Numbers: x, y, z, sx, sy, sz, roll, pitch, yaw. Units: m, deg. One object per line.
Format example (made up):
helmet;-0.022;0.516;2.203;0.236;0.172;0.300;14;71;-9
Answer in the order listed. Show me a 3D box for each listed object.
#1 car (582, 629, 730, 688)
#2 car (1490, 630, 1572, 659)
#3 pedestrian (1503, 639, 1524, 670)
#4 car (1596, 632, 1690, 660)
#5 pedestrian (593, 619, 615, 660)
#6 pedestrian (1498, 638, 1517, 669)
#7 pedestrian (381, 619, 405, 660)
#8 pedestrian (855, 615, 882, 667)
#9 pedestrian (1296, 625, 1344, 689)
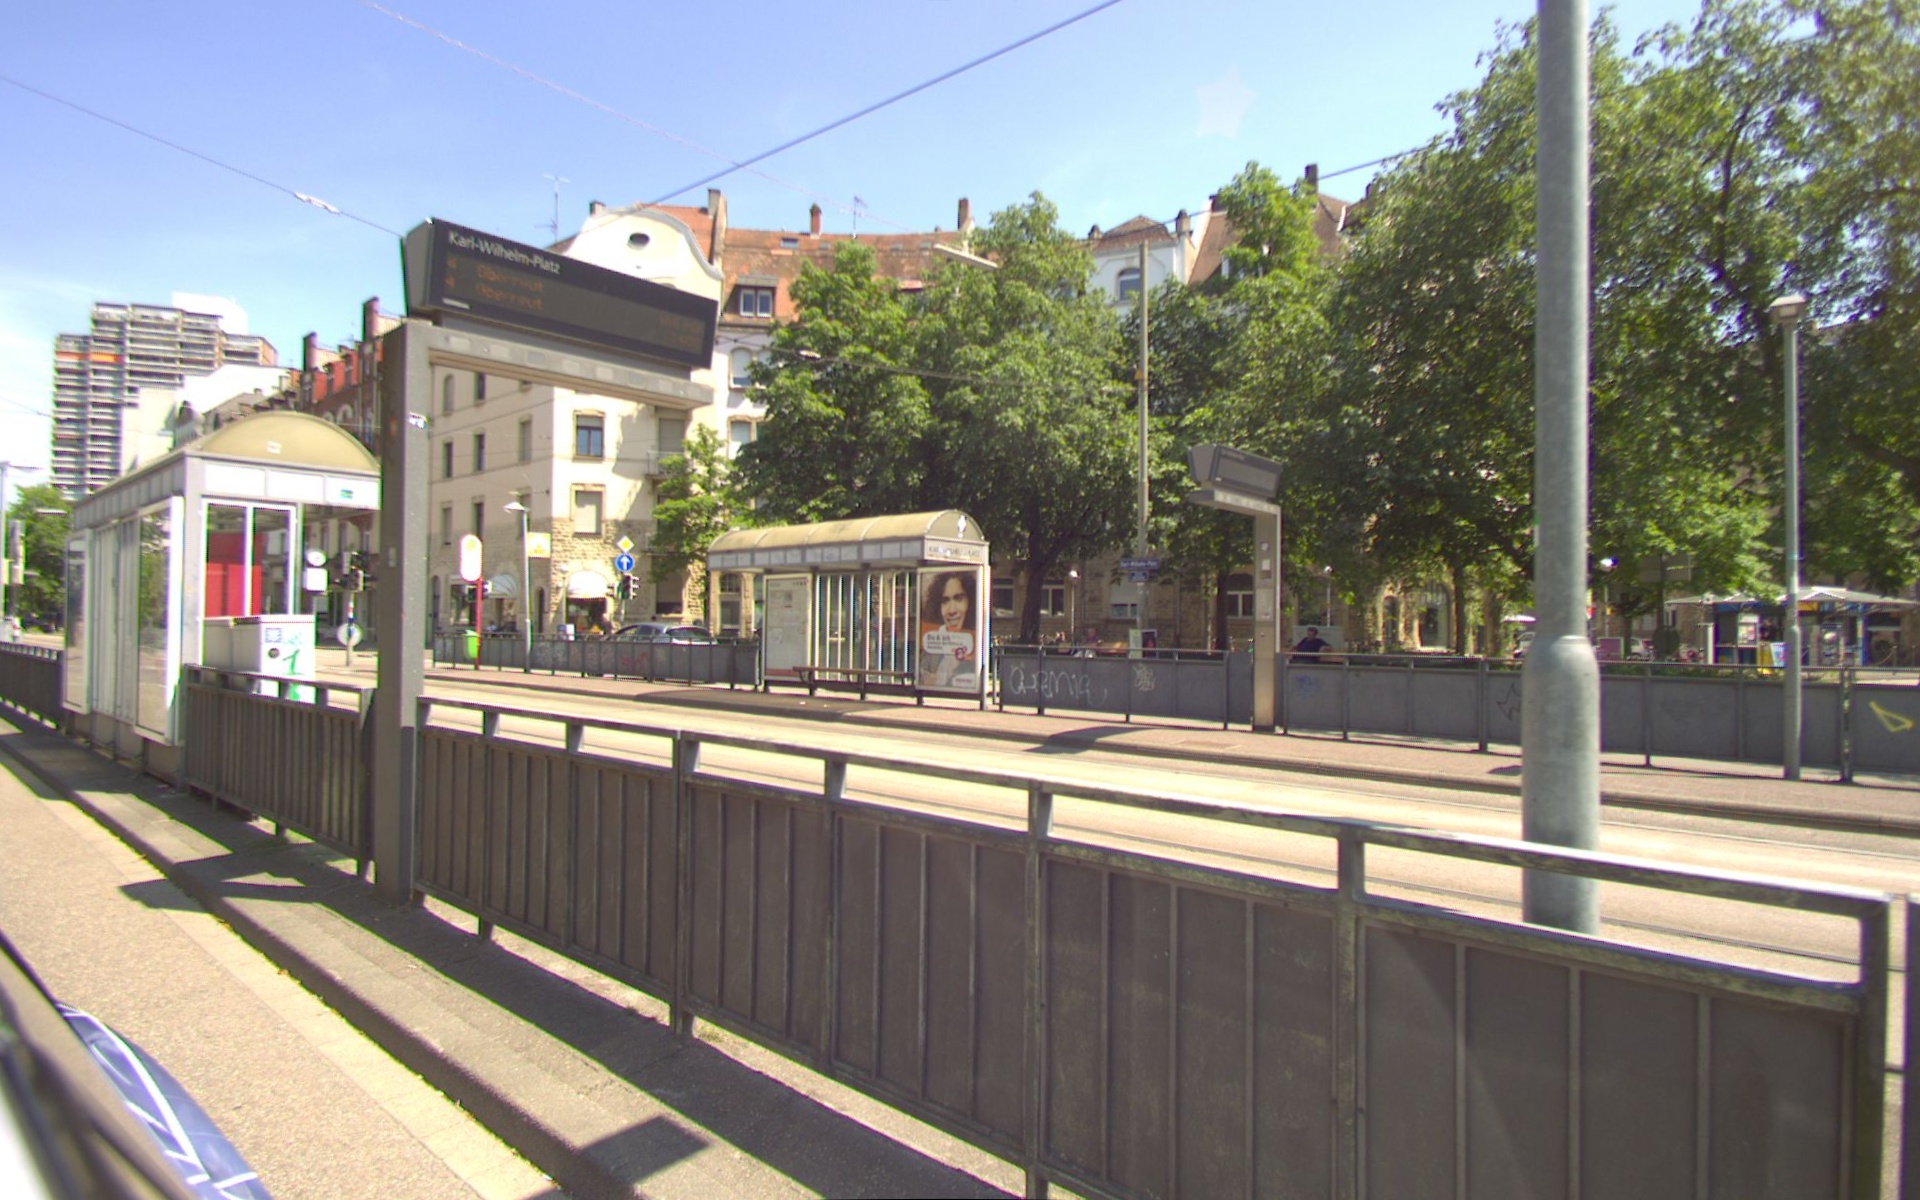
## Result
car;-7.493;1.374;24.784;3.846;1.320;1.675;-1;-2;41
car;35.053;2.685;62.192;1.780;1.711;4.012;1;-2;-29
pedestrian;24.936;2.463;45.605;0.691;1.360;0.605;2;-3;-38
car;38.002;2.538;56.380;1.665;1.512;4.012;1;-2;-29
pedestrian;-12.716;1.423;36.176;0.519;1.452;0.531;-1;-2;33
pedestrian;24.070;2.346;44.491;0.701;1.360;0.596;-1;-3;35
pedestrian;-24.306;1.672;43.387;0.796;1.733;0.765;1;-2;-33
pedestrian;-2.577;1.155;28.452;0.519;1.452;0.531;-1;-2;31
pedestrian;7.626;1.188;21.430;0.811;1.327;0.653;2;-2;-43
